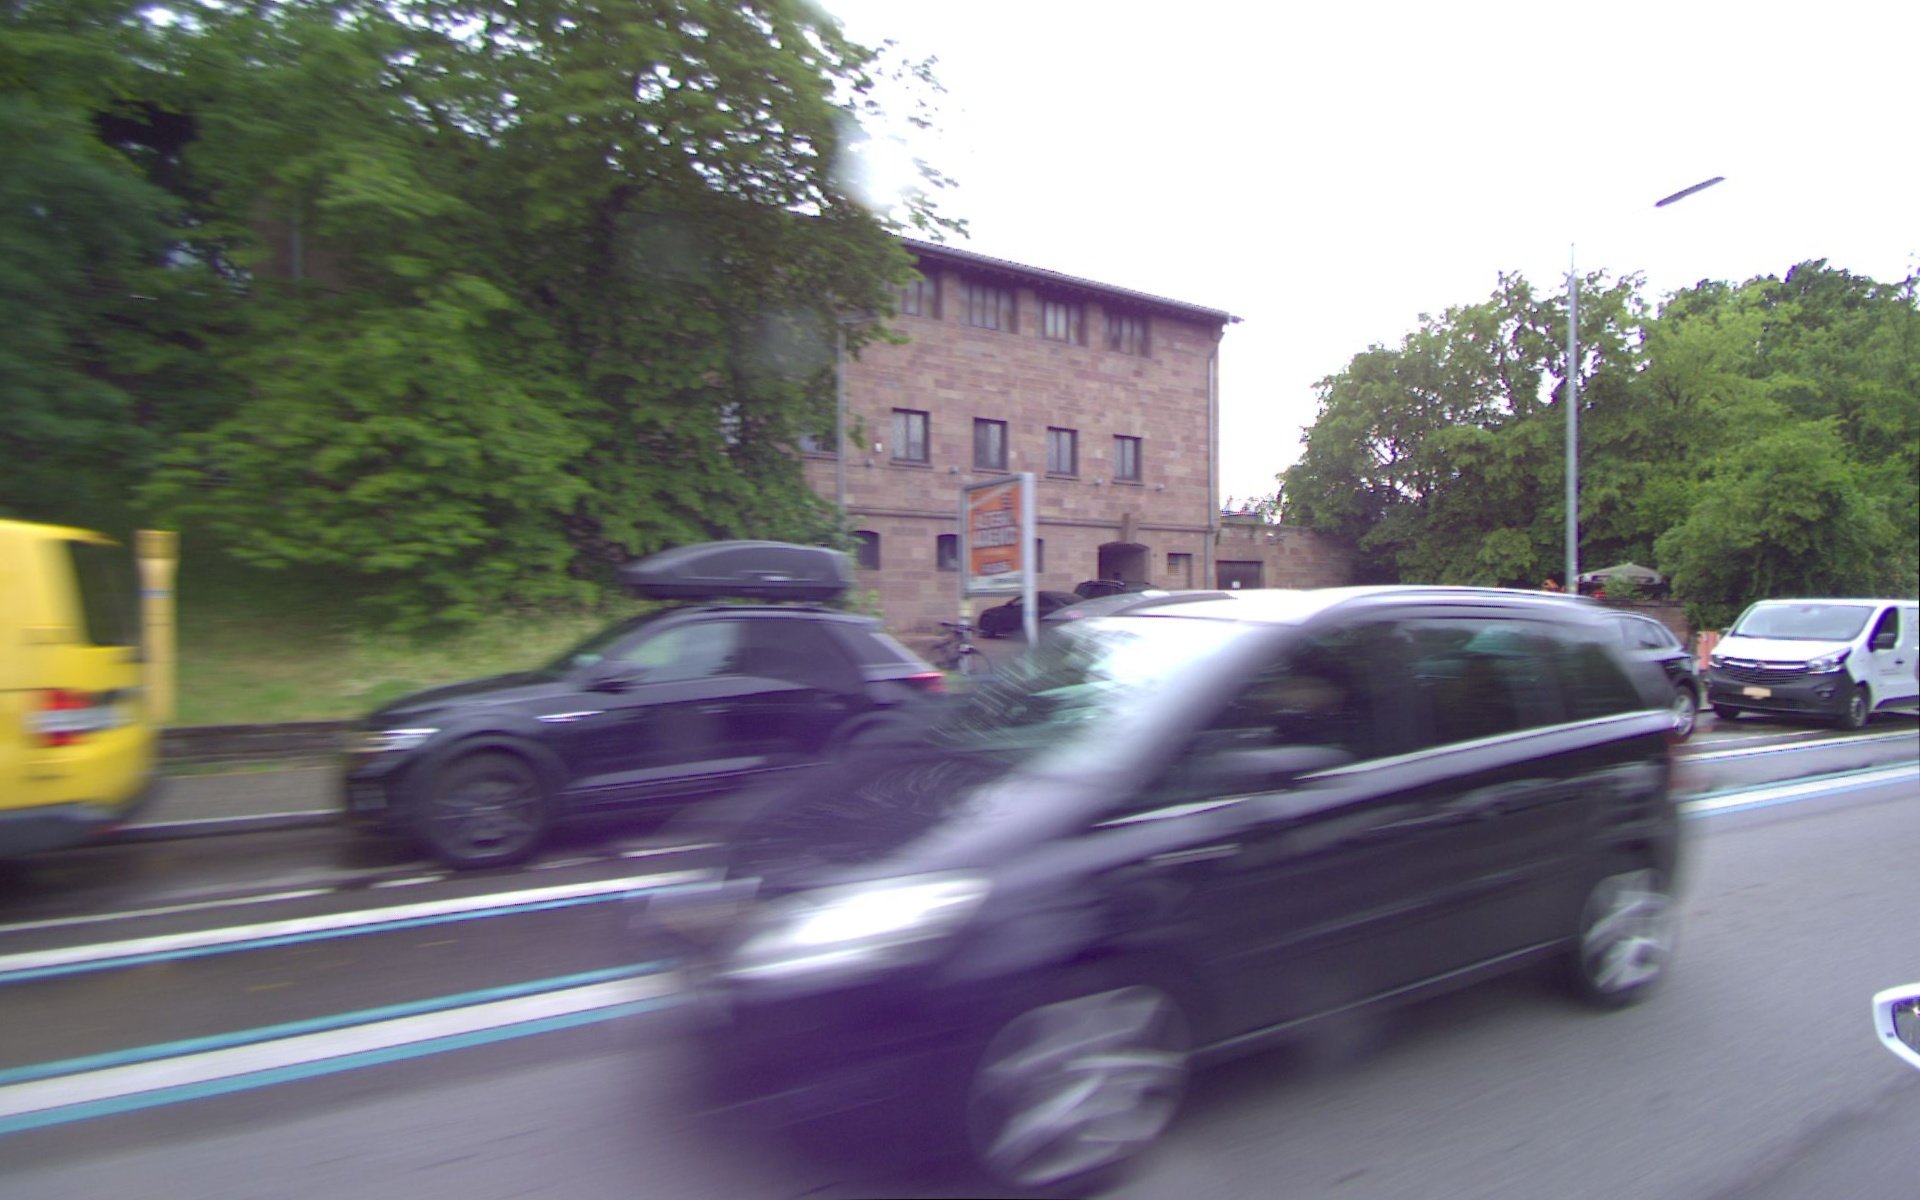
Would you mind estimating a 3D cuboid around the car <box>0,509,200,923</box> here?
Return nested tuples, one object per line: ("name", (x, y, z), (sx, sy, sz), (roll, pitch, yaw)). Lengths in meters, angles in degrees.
("car", (-6.644, 0.542, 4.605), (4.787, 1.938, 1.984), (1, -1, -30))

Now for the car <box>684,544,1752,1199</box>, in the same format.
("car", (1.174, 0.735, 3.982), (4.101, 1.639, 1.703), (0, -2, -30))

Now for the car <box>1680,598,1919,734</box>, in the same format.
("car", (14.265, 0.970, 16.411), (5.160, 1.940, 1.971), (1, 0, -28))

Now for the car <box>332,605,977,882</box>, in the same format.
("car", (-2.063, 0.819, 7.286), (4.099, 1.524, 1.702), (1, -1, -29))

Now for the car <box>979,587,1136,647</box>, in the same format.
("car", (2.651, 0.441, 28.273), (2.238, 1.451, 4.278), (2, 1, -33))

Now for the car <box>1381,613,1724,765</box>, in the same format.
("car", (7.667, 1.001, 12.880), (4.608, 1.637, 1.815), (1, -1, -31))

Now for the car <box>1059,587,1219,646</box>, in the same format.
("car", (5.224, 0.418, 29.990), (2.164, 1.499, 4.748), (0, 2, -30))

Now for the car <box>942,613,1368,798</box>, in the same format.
("car", (1.944, 0.868, 9.675), (3.990, 1.465, 1.600), (1, -1, -30))
